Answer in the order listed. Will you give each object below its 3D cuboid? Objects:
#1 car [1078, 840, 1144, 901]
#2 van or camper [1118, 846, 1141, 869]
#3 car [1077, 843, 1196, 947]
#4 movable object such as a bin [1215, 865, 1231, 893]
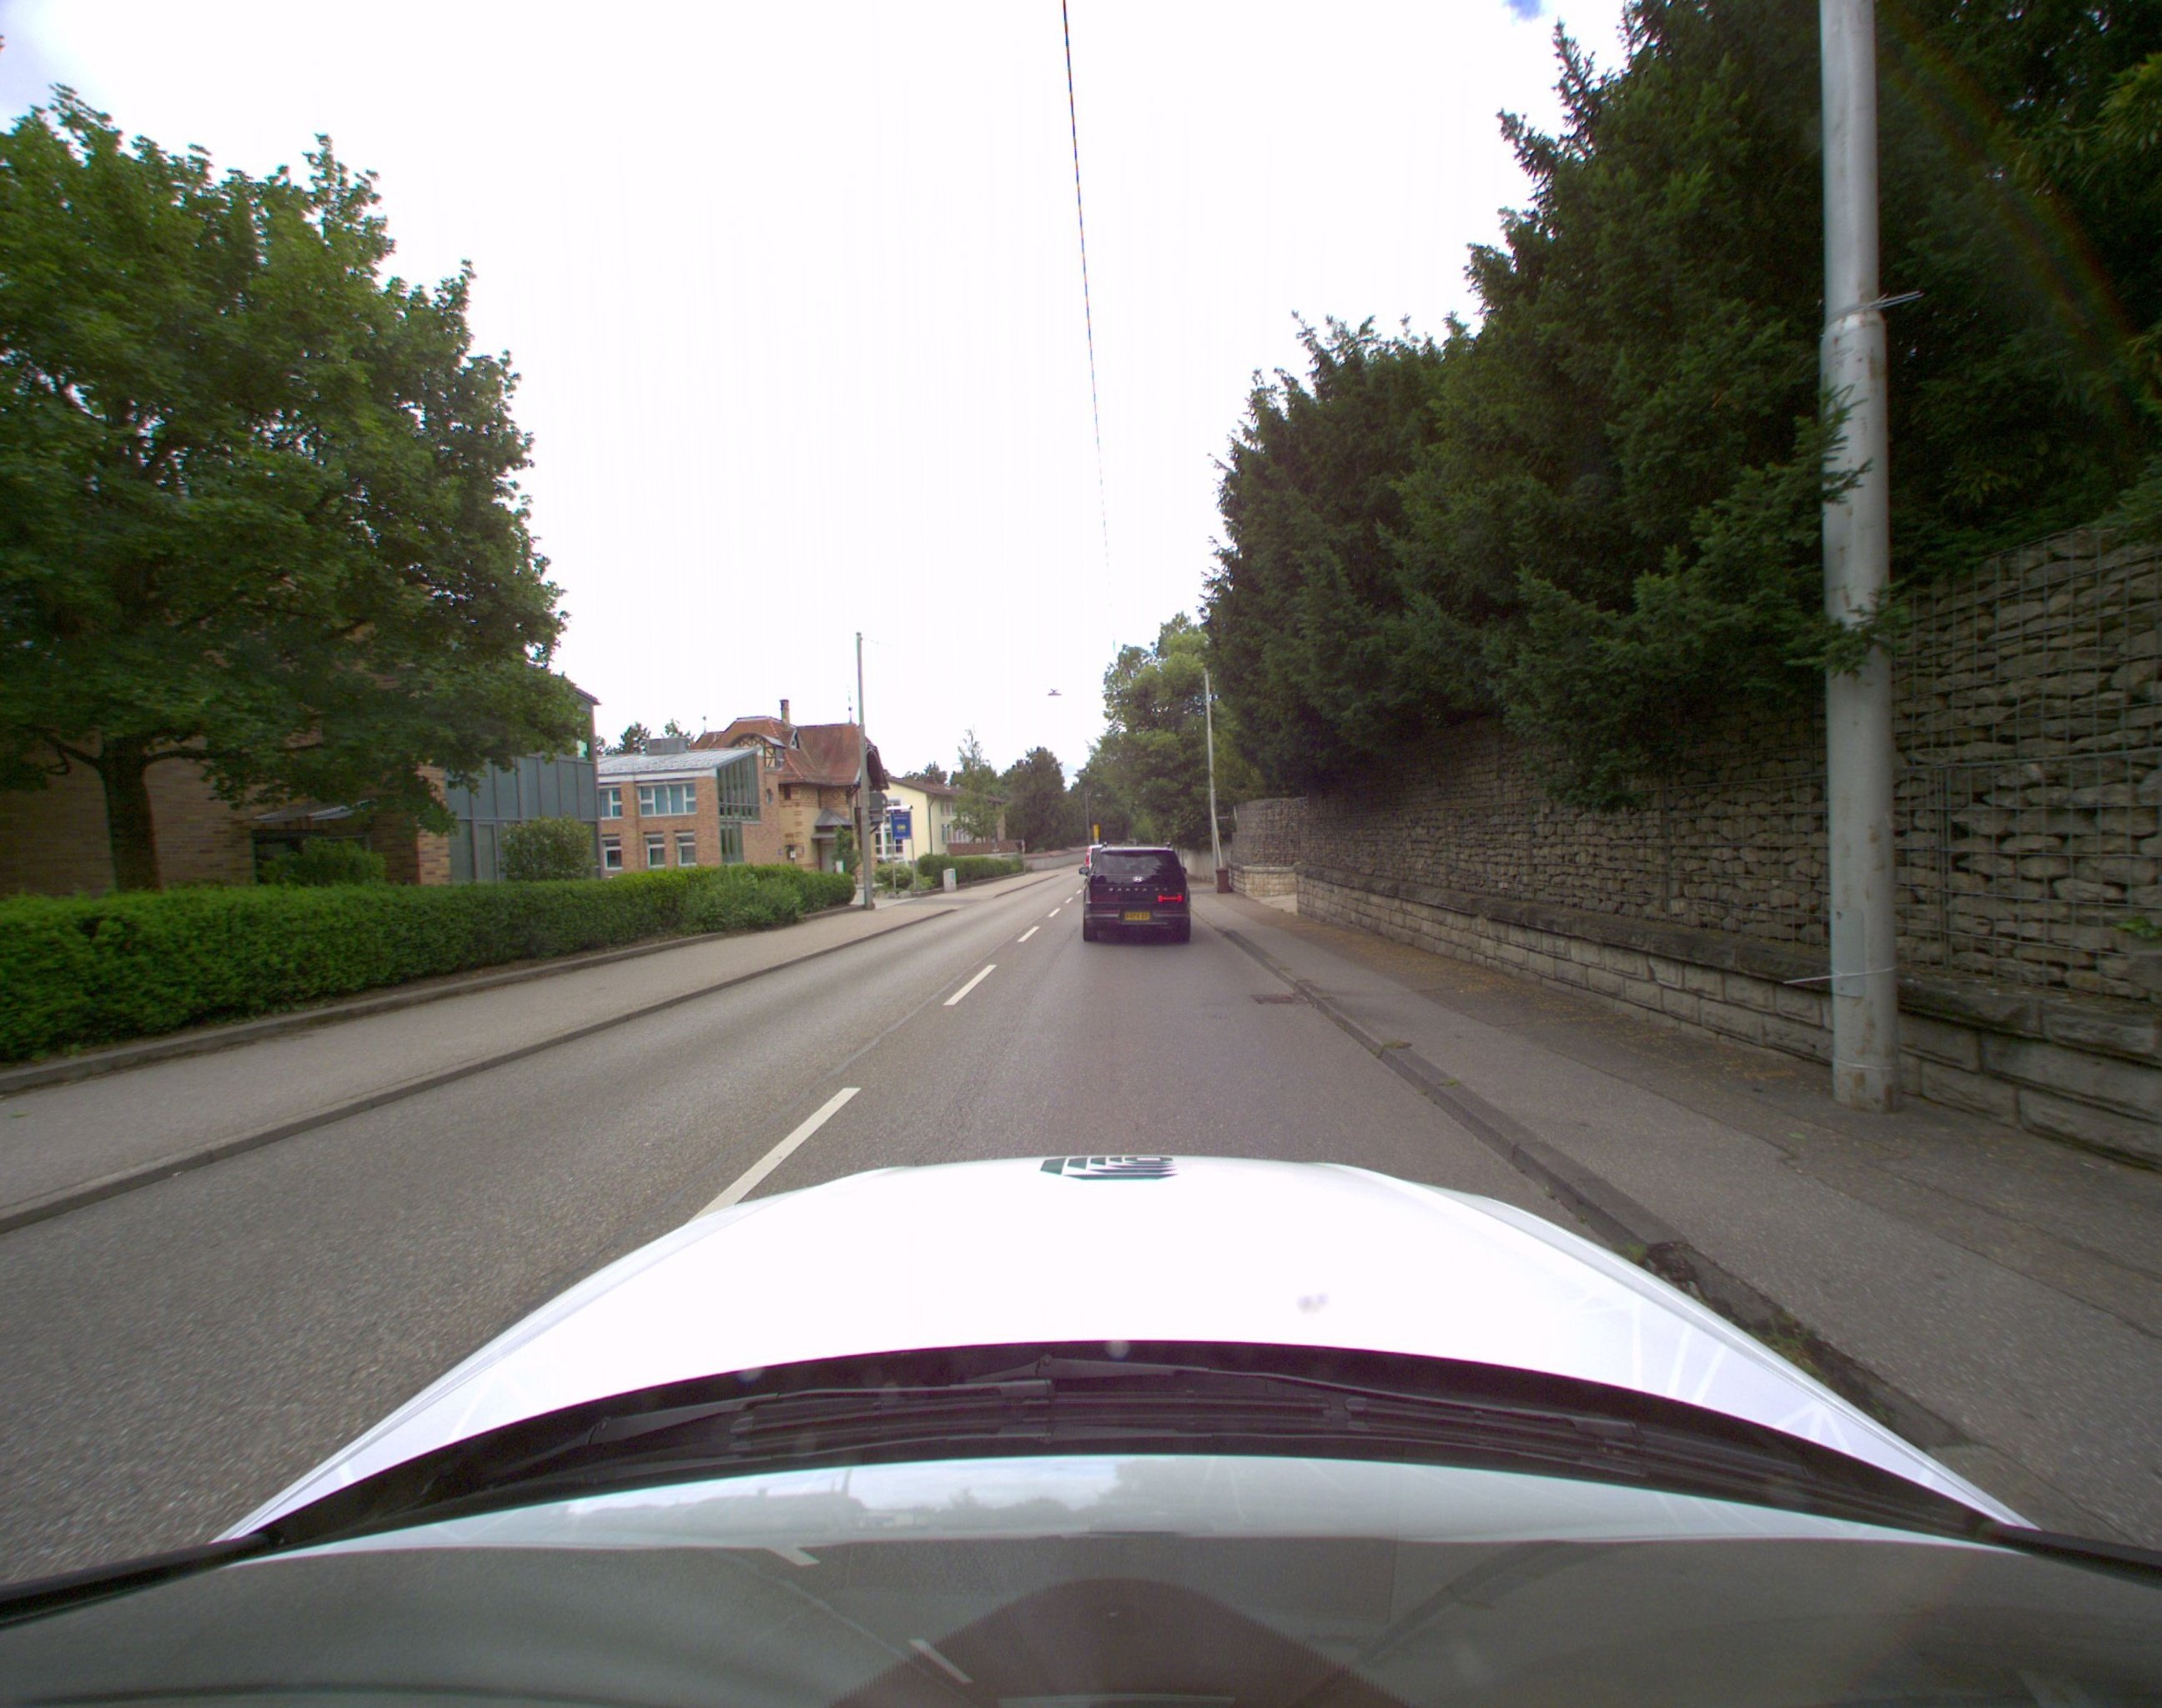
[{"bbox_3d":[0.954,0.553,28.252,1.952,1.956,4.219,0,-1,-2],"label":"car"},{"bbox_3d":[4.903,0.319,81.640,1.665,2.007,3.950,-3,1,11],"label":"van or camper"},{"bbox_3d":[1.028,0.662,15.513,1.949,1.713,4.227,0,0,3],"label":"car"},{"bbox_3d":[4.906,0.851,28.189,0.442,0.910,0.395,-6,-1,12],"label":"movable object such as a bin"}]
